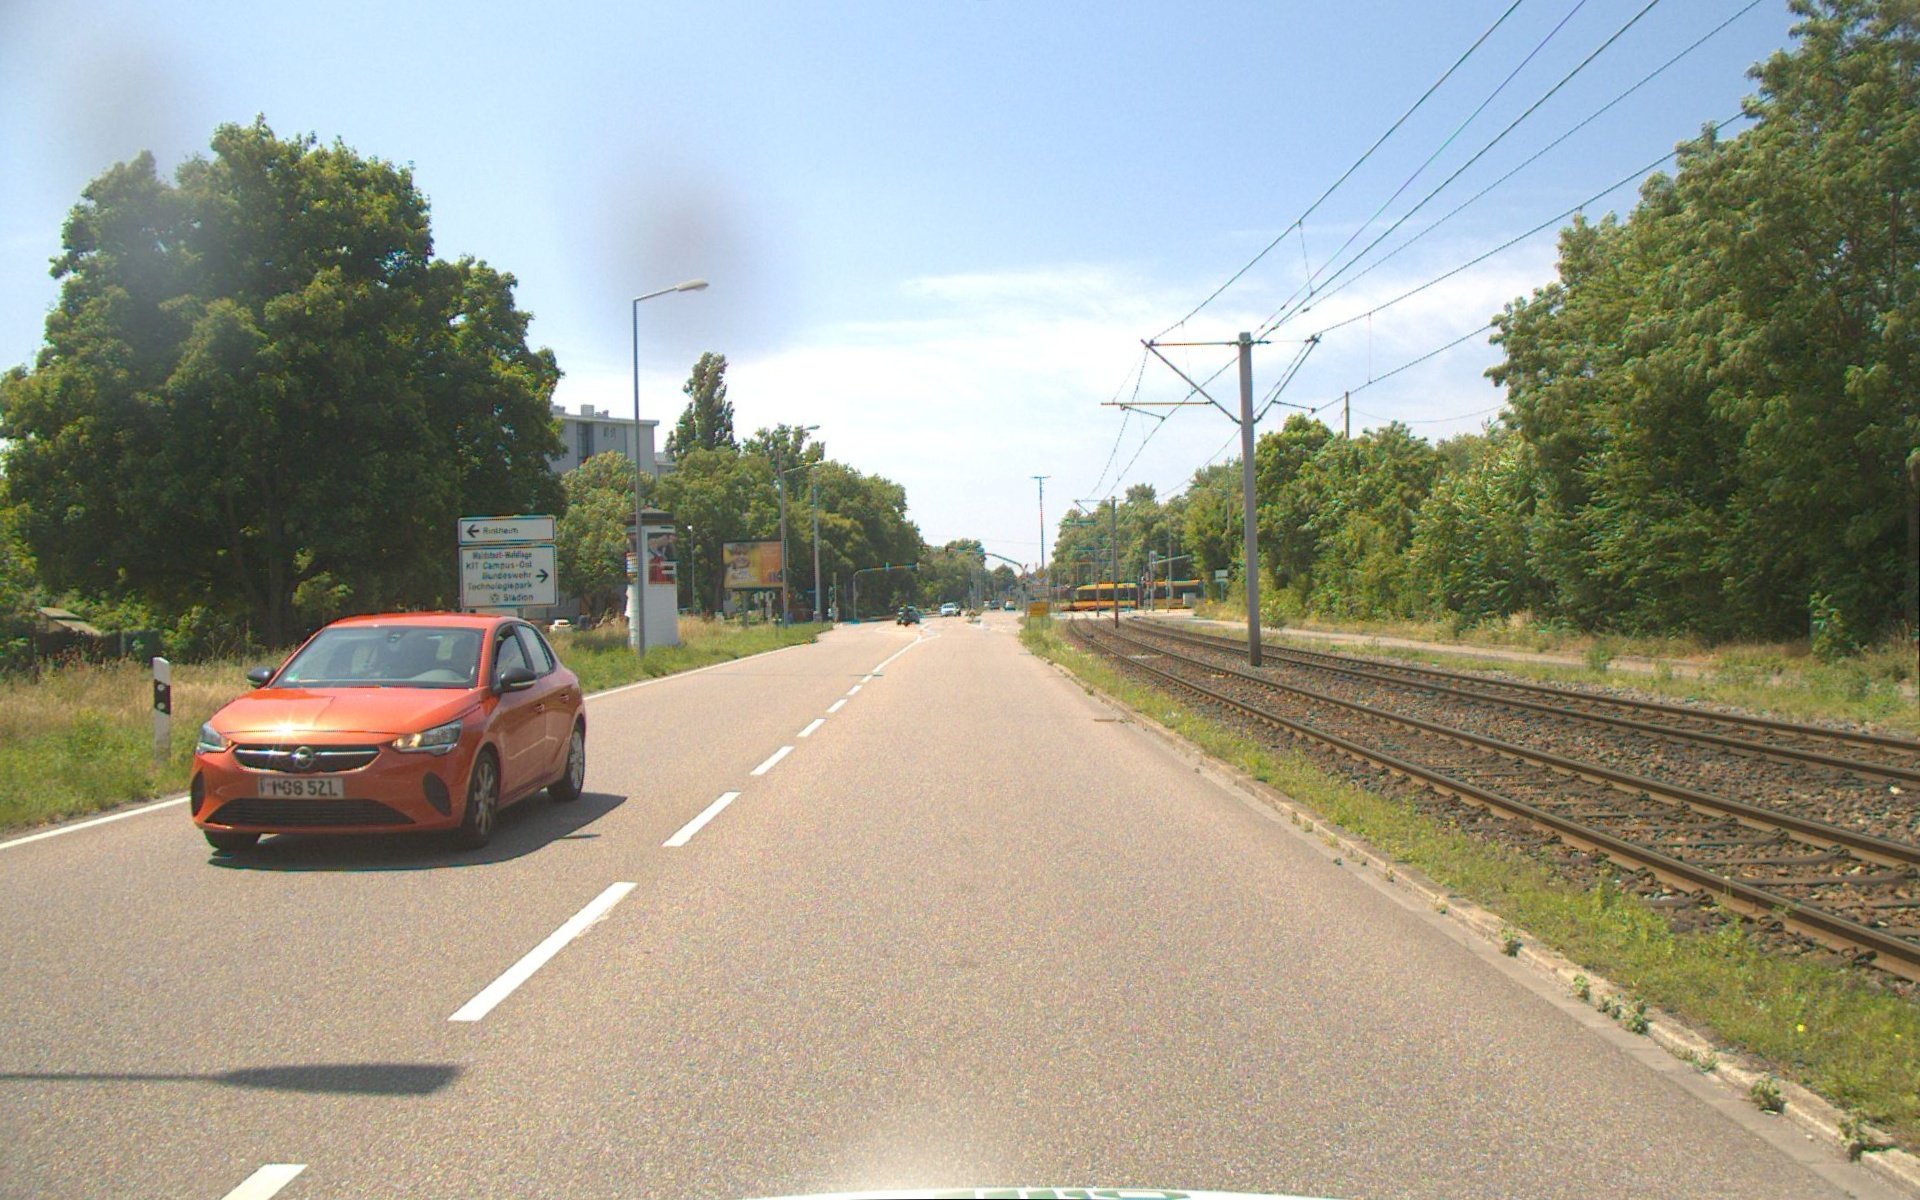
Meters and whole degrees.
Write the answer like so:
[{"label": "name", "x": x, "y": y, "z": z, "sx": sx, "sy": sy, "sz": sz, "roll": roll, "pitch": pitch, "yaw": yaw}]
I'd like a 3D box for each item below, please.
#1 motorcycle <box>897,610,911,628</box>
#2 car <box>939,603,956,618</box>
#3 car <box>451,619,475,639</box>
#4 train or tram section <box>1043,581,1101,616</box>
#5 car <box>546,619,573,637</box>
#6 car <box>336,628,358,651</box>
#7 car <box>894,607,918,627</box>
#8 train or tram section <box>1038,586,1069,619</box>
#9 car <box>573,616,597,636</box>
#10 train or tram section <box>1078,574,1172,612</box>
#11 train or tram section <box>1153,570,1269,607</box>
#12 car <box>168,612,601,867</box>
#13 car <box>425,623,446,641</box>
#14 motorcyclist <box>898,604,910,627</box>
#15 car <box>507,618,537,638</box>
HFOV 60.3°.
[{"label": "motorcycle", "x": -4.074, "y": 1.372, "z": 120.133, "sx": 0.829, "sy": 1.277, "sz": 2.450, "roll": -1, "pitch": 0, "yaw": 3}, {"label": "car", "x": -1.394, "y": 1.198, "z": 190.622, "sx": 1.747, "sy": 1.657, "sz": 3.866, "roll": -2, "pitch": 0, "yaw": 1}, {"label": "car", "x": -45.842, "y": 2.671, "z": 152.504, "sx": 1.820, "sy": 1.741, "sz": 3.975, "roll": -1, "pitch": 0, "yaw": -21}, {"label": "train or tram section", "x": 14.828, "y": -0.151, "z": 220.044, "sx": 2.869, "sy": 3.879, "sz": 13.382, "roll": 0, "pitch": -3, "yaw": -18}, {"label": "car", "x": -37.610, "y": 2.596, "z": 155.381, "sx": 1.683, "sy": 1.620, "sz": 3.968, "roll": -1, "pitch": -1, "yaw": -25}, {"label": "car", "x": -54.692, "y": 3.468, "z": 147.609, "sx": 1.820, "sy": 1.982, "sz": 3.975, "roll": -1, "pitch": -1, "yaw": -21}, {"label": "car", "x": -4.379, "y": 1.383, "z": 134.931, "sx": 1.867, "sy": 1.525, "sz": 4.629, "roll": 0, "pitch": 0, "yaw": -1}, {"label": "train or tram section", "x": 12.994, "y": 0.465, "z": 231.148, "sx": 2.856, "sy": 3.879, "sz": 13.064, "roll": -1, "pitch": -3, "yaw": -3}, {"label": "car", "x": -35.436, "y": 2.480, "z": 156.157, "sx": 1.680, "sy": 1.832, "sz": 3.975, "roll": -1, "pitch": -1, "yaw": -21}, {"label": "train or tram section", "x": 20.830, "y": -0.825, "z": 210.161, "sx": 2.896, "sy": 3.988, "sz": 13.836, "roll": 2, "pitch": -4, "yaw": -40}, {"label": "train or tram section", "x": 30.799, "y": -1.378, "z": 203.120, "sx": 13.632, "sy": 3.988, "sz": 2.923, "roll": -2, "pitch": -4, "yaw": 21}, {"label": "car", "x": -3.704, "y": 0.806, "z": 11.404, "sx": 1.645, "sy": 1.423, "sz": 3.999, "roll": 0, "pitch": 0, "yaw": -1}, {"label": "car", "x": -48.039, "y": 2.956, "z": 151.516, "sx": 1.664, "sy": 1.589, "sz": 3.814, "roll": -2, "pitch": 0, "yaw": -20}, {"label": "motorcyclist", "x": -4.052, "y": 1.111, "z": 120.359, "sx": 0.773, "sy": 1.671, "sz": 1.211, "roll": -1, "pitch": -1, "yaw": 3}, {"label": "car", "x": -40.850, "y": 2.636, "z": 154.215, "sx": 1.826, "sy": 1.697, "sz": 3.961, "roll": -2, "pitch": -1, "yaw": -29}]
